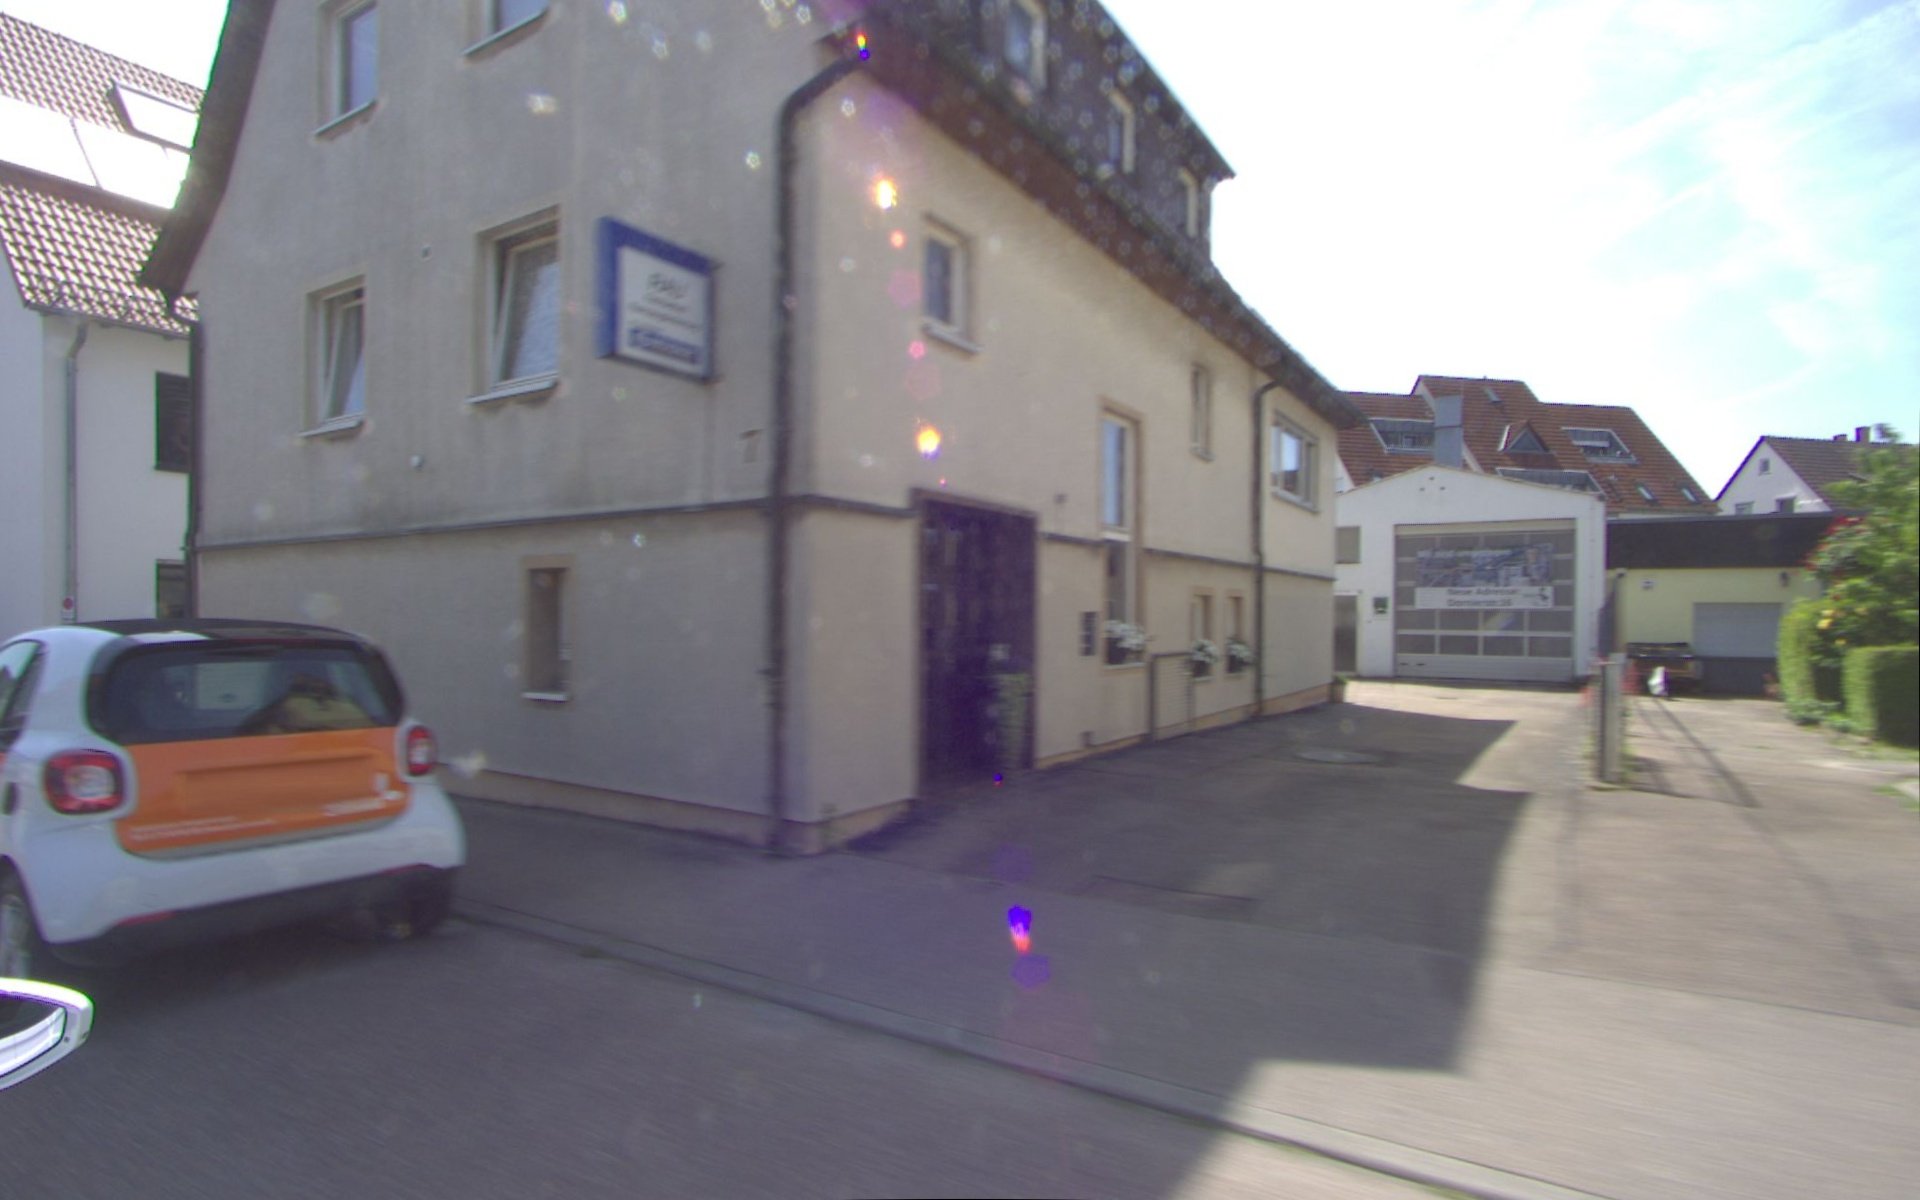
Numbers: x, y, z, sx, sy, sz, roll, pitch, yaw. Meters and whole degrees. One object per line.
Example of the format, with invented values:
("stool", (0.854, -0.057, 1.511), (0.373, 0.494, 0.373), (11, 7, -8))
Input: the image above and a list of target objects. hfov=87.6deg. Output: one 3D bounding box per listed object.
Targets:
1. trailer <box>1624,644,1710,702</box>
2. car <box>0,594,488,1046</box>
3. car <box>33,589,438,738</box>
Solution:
("trailer", (14.610, 1.476, 20.761), (1.297, 1.055, 2.161), (1, 0, 32))
("car", (-4.034, 0.816, 5.035), (2.997, 1.579, 1.671), (-1, -2, 32))
("car", (-10.543, 0.874, 14.979), (1.970, 1.866, 4.511), (0, -2, 30))
